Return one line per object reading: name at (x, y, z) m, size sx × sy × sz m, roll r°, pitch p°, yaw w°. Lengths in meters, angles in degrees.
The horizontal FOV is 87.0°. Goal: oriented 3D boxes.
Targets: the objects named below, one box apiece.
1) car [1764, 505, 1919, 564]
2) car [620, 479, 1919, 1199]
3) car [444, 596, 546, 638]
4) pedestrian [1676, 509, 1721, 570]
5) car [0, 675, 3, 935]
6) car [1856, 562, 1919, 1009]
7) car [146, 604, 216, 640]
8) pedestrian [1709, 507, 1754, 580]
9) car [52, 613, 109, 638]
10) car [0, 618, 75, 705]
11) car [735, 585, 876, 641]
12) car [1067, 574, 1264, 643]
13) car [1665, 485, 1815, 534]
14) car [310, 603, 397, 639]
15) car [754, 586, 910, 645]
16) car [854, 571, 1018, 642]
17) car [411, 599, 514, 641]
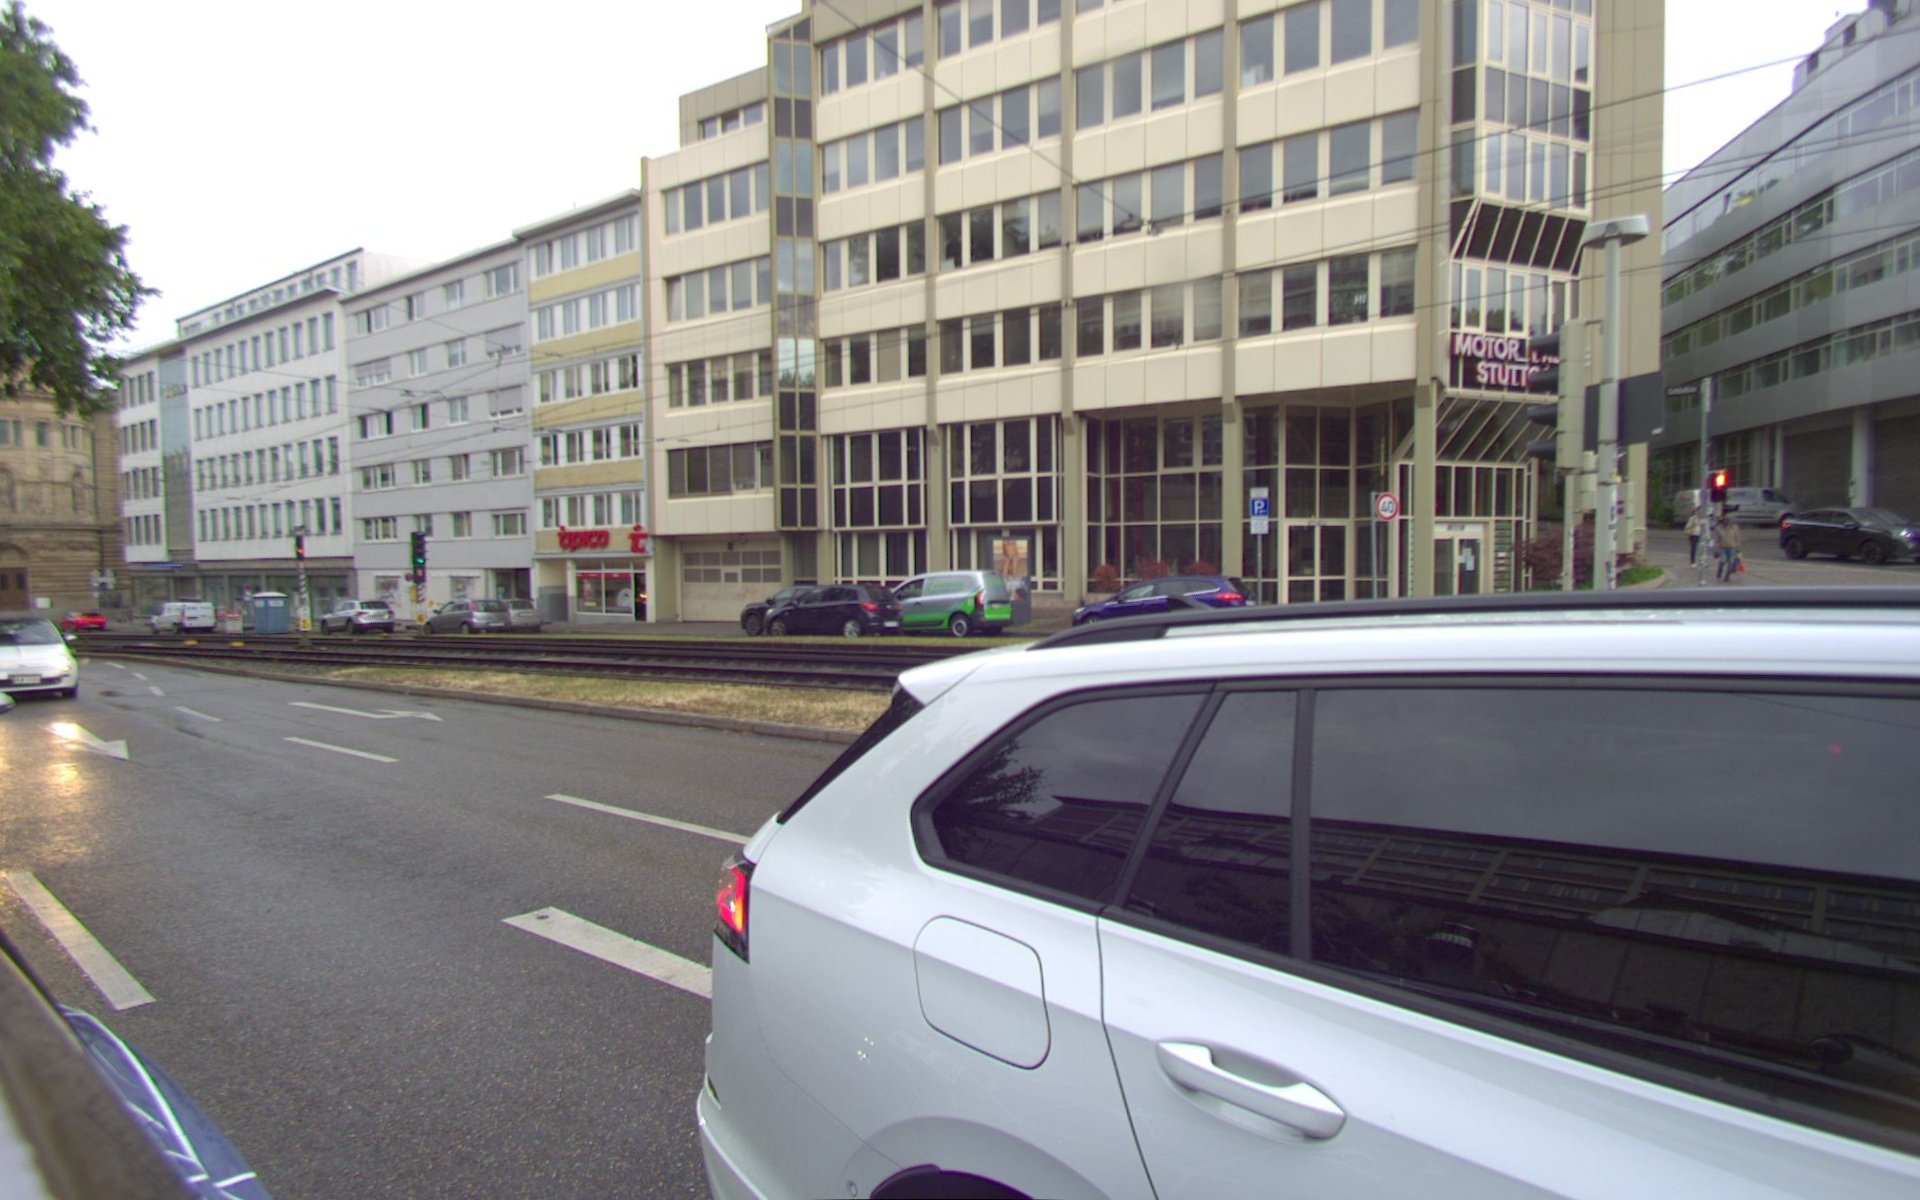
car at (27.520, -2.050, 31.019) m, size 1.974 × 1.591 × 4.884 m, roll -2°, pitch 5°, yaw 3°
car at (1.601, 0.625, 1.168) m, size 4.473 × 1.453 × 1.777 m, roll -1°, pitch 0°, yaw 41°
car at (-18.724, 0.668, 40.714) m, size 4.066 × 1.524 × 1.782 m, roll -1°, pitch 3°, yaw 34°
pedestrian at (20.567, -1.686, 28.203) m, size 0.711 × 1.651 × 0.759 m, roll -2°, pitch 3°, yaw 6°
car at (-6.588, 0.841, 5.363) m, size 4.295 × 1.445 × 1.788 m, roll -1°, pitch 0°, yaw 41°
car at (5.291, 0.576, 2.566) m, size 4.473 × 1.453 × 1.777 m, roll -1°, pitch 0°, yaw 41°
car at (-46.560, 1.293, 60.459) m, size 4.465 × 1.949 × 1.869 m, roll -1°, pitch 3°, yaw 34°
pedestrian at (19.605, -1.422, 25.733) m, size 0.828 × 1.800 × 0.753 m, roll 0°, pitch 3°, yaw 30°
car at (-62.218, 1.783, 71.564) m, size 4.465 × 1.636 × 1.869 m, roll -1°, pitch 3°, yaw 34°
car at (-17.420, 1.064, 18.337) m, size 3.438 × 1.445 × 1.633 m, roll -1°, pitch 0°, yaw 41°
car at (-4.726, 0.381, 30.761) m, size 4.066 × 1.524 × 1.782 m, roll -1°, pitch 3°, yaw 34°
car at (4.807, 0.194, 23.857) m, size 4.207 × 1.488 × 1.780 m, roll -1°, pitch 0°, yaw 35°
car at (37.616, -4.347, 48.945) m, size 5.357 × 2.029 × 1.993 m, roll -1°, pitch 0°, yaw 12°
car at (-28.321, 0.952, 47.216) m, size 4.066 × 1.524 × 1.869 m, roll -1°, pitch 3°, yaw 34°
car at (-3.337, 0.401, 26.140) m, size 3.861 × 1.367 × 1.614 m, roll -1°, pitch 2°, yaw 34°
car at (-0.685, 0.172, 27.871) m, size 4.204 × 1.759 × 1.782 m, roll -1°, pitch 2°, yaw 33°
car at (-18.115, 0.735, 36.811) m, size 3.861 × 1.367 × 1.614 m, roll -1°, pitch 2°, yaw 34°
